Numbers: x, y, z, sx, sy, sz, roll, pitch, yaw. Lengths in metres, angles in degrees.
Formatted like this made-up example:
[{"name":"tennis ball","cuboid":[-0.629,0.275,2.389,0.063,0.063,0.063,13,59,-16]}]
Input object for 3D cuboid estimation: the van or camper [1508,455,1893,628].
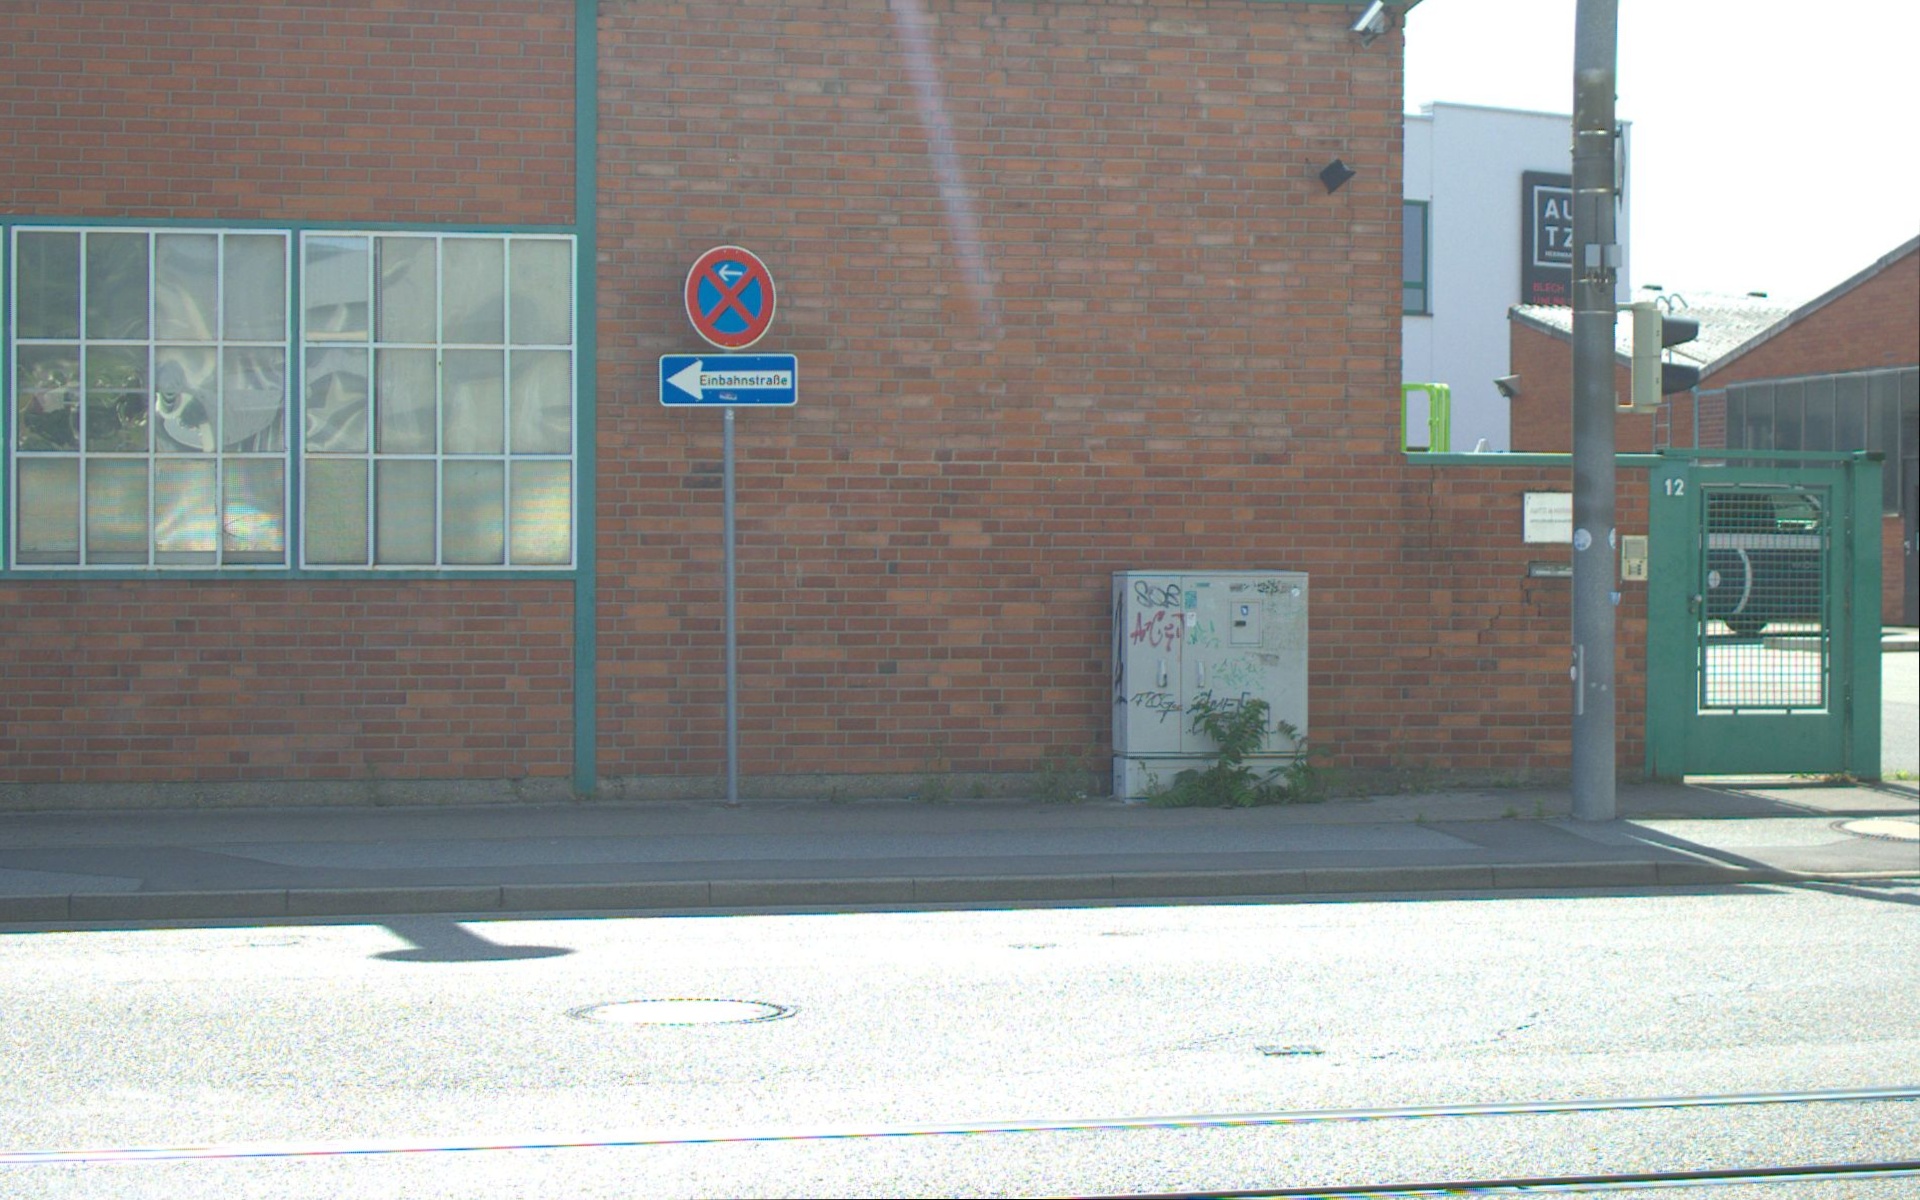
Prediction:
[{"name":"van or camper","cuboid":[8.985,-0.692,41.599,4.407,1.894,2.000,2,0,-34]}]
